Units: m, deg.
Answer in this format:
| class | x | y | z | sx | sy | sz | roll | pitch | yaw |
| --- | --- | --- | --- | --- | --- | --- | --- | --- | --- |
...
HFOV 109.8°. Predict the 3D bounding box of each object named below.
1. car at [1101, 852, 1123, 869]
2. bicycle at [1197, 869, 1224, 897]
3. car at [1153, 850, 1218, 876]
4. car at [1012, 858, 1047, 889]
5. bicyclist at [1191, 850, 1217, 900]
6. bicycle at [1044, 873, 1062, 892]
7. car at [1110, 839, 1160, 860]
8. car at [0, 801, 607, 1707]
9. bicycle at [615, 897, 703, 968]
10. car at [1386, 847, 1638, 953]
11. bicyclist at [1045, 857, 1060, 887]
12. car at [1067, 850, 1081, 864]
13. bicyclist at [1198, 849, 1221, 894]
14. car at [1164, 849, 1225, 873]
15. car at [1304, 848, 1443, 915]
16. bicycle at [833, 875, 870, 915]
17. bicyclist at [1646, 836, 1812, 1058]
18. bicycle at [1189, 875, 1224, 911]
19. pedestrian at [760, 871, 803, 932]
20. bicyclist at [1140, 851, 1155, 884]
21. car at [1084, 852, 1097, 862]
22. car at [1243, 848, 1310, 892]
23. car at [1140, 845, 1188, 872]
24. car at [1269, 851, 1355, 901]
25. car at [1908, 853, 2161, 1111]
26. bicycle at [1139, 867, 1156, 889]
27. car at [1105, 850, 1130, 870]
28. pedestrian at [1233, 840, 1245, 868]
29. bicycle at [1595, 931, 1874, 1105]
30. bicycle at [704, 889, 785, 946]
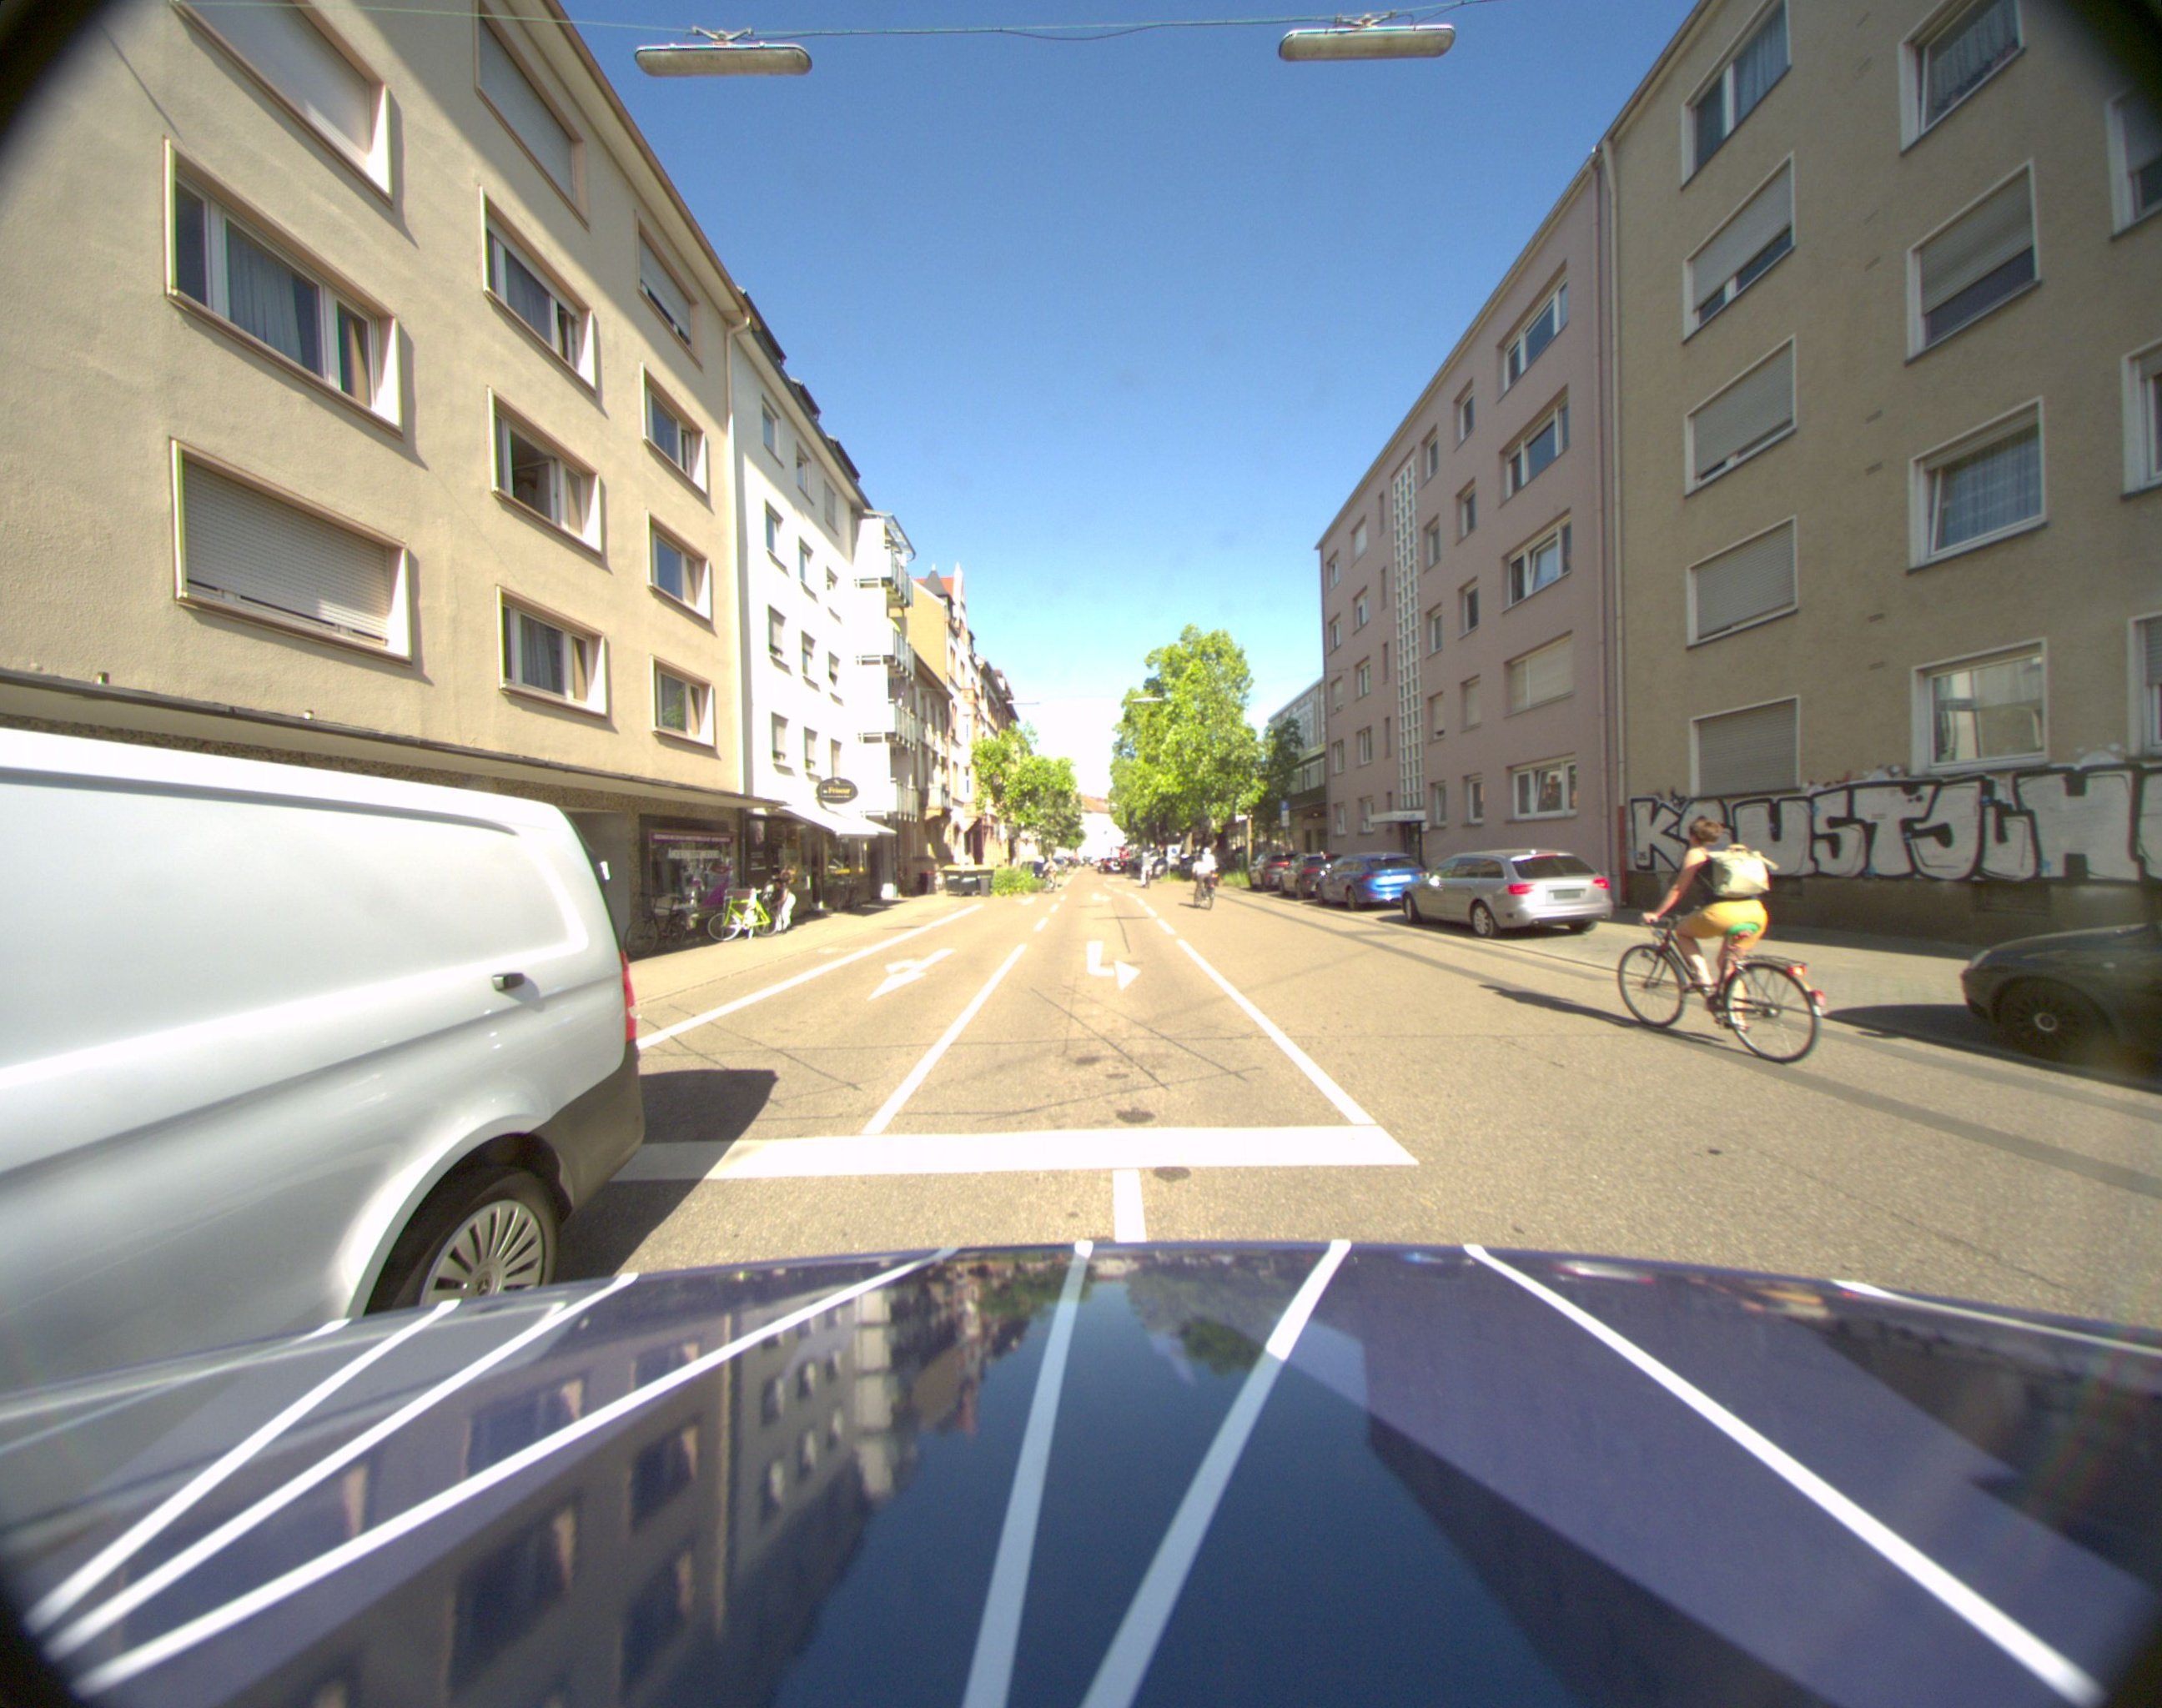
| class | x | y | z | sx | sy | sz | roll | pitch | yaw |
| --- | --- | --- | --- | --- | --- | --- | --- | --- | --- |
| car | 2.899 | 0.570 | 71.926 | 1.911 | 1.543 | 4.000 | -2 | 0 | 1 |
| bicycle | 4.624 | 1.017 | 27.286 | 0.681 | 0.946 | 1.933 | 0 | 0 | 1 |
| car | 6.730 | 0.573 | 49.279 | 3.996 | 1.543 | 1.913 | -2 | 0 | 3 |
| car | -2.822 | 1.027 | 42.249 | 1.627 | 1.586 | 3.547 | -2 | 0 | 1 |
| bicyclist | 3.503 | 0.583 | 21.670 | 0.544 | 1.383 | 0.788 | -2 | 1 | -4 |
| bicycle | -1.315 | 1.324 | 35.475 | 0.582 | 0.801 | 1.710 | -2 | 0 | 6 |
| car | 6.497 | -0.503 | 91.397 | 5.564 | 2.379 | 1.976 | -2 | 0 | -15 |
| car | -2.756 | 0.850 | 0.357 | 1.973 | 1.800 | 4.832 | -2 | 1 | 0 |
| bicycle | -7.503 | 1.362 | 13.595 | 0.407 | 1.078 | 1.801 | 1 | 0 | 6 |
| car | 7.560 | 0.701 | 14.012 | 1.828 | 1.494 | 4.801 | -4 | 0 | 0 |
| bicyclist | -1.339 | 0.827 | 35.387 | 0.582 | 1.369 | 0.665 | -2 | 1 | 6 |
| car | -0.855 | 0.341 | 93.800 | 1.627 | 1.586 | 3.547 | -2 | 0 | 1 |
| bicyclist | 4.628 | 0.620 | 27.379 | 0.681 | 1.621 | 0.899 | 0 | 1 | 1 |
| car | 7.846 | 0.467 | 52.686 | 3.996 | 1.543 | 1.913 | -2 | 0 | 3 |
| car | 7.710 | 0.652 | 20.588 | 1.828 | 1.494 | 4.801 | -4 | 0 | 0 |
| bicycle | -7.253 | 1.281 | 24.115 | 0.598 | 1.137 | 1.774 | 1 | 0 | 1 |
| bicyclist | 4.724 | 0.638 | 5.591 | 0.544 | 1.512 | 0.774 | -2 | 1 | 1 |
| bicycle | 3.533 | 1.082 | 21.495 | 0.544 | 0.897 | 1.825 | -2 | 0 | -4 |
| pedestrian | -7.310 | 1.154 | 18.569 | 0.775 | 1.434 | 0.625 | -2 | 1 | -4 |
| bicyclist | 3.151 | 0.634 | 36.141 | 0.681 | 1.567 | 0.899 | 0 | 1 | 1 |
| car | 1.286 | 0.455 | 103.809 | 1.627 | 1.270 | 3.547 | -2 | 0 | 3 |
| car | 7.857 | 0.609 | 30.937 | 1.727 | 1.567 | 4.158 | -4 | 0 | 3 |
| car | 6.928 | 0.367 | 63.520 | 3.875 | 2.031 | 1.913 | -2 | 0 | 3 |
| car | 7.673 | 0.670 | 25.600 | 1.727 | 1.459 | 4.158 | -4 | 0 | 3 |
| car | 7.302 | 0.771 | 3.969 | 1.695 | 1.440 | 3.856 | -4 | 0 | 0 |
| bicycle | 3.163 | 1.126 | 36.156 | 0.681 | 0.946 | 1.933 | 0 | 0 | 1 |
| car | 2.987 | 0.481 | 62.865 | 1.911 | 1.543 | 4.000 | -2 | 0 | 1 |
| pedestrian | 10.256 | 0.018 | 49.208 | 0.623 | 1.795 | 0.502 | -2 | 1 | 2 |
| bicycle | 4.745 | 1.129 | 5.712 | 0.544 | 0.897 | 1.826 | -2 | 0 | 1 |
| bicycle | -7.303 | 1.354 | 16.483 | 1.497 | 1.100 | 0.722 | -2 | 0 | -31 |
